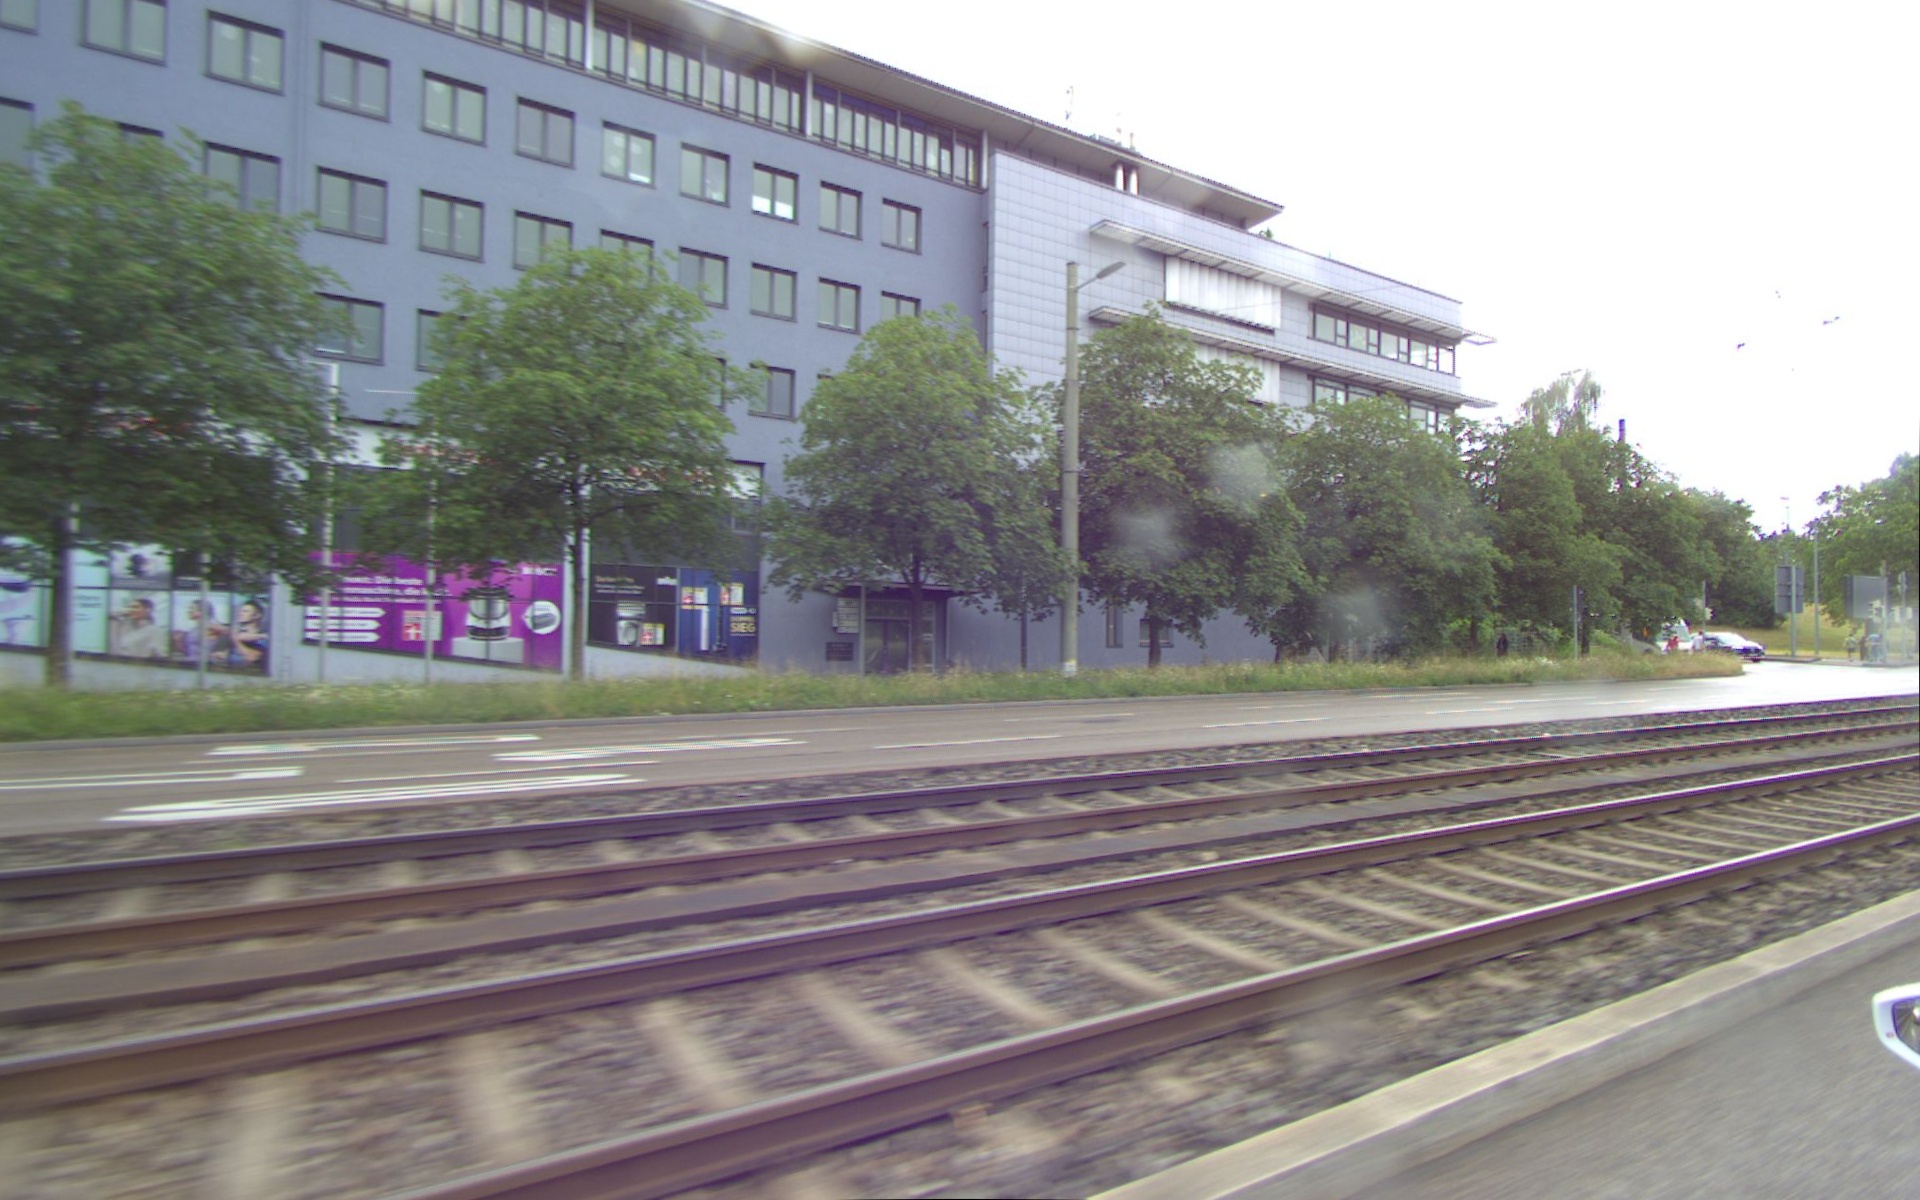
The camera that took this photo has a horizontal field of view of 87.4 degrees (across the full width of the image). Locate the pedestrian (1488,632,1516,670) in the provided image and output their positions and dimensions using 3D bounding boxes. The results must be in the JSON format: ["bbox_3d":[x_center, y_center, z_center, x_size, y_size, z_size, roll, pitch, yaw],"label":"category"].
[{"bbox_3d":[25.702,2.411,47.633,0.866,1.779,0.722,1,1,-28],"label":"pedestrian"}]

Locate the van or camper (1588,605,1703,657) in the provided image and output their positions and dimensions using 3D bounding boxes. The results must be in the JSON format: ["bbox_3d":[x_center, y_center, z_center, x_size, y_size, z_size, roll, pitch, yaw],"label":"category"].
[{"bbox_3d":[42.253,1.872,62.223,2.441,3.006,7.378,0,-1,4],"label":"van or camper"}]

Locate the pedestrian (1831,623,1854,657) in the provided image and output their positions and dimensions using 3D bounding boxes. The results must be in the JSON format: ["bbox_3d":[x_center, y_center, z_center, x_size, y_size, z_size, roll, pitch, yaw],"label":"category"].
[{"bbox_3d":[53.771,2.404,61.202,0.857,2.040,0.881,1,-1,-35],"label":"pedestrian"}]

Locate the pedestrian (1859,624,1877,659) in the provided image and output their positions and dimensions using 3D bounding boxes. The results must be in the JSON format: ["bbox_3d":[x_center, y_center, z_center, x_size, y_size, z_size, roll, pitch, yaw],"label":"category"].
[{"bbox_3d":[53.418,2.437,59.102,0.712,1.982,0.494,1,1,-27],"label":"pedestrian"}]

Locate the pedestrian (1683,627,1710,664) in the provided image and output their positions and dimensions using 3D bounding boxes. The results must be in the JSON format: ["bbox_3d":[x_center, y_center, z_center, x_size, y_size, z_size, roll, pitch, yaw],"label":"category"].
[{"bbox_3d":[38.020,2.320,51.839,0.935,1.892,0.636,0,-1,0],"label":"pedestrian"}]

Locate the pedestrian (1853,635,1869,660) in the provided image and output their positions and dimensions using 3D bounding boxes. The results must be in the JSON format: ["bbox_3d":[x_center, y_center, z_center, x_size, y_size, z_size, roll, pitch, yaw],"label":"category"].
[{"bbox_3d":[54.419,2.863,60.668,0.713,1.493,0.493,1,1,-29],"label":"pedestrian"}]

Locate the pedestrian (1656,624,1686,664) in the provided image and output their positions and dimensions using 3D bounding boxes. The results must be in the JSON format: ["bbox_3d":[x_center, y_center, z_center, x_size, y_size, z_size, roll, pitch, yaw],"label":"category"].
[{"bbox_3d":[37.162,2.278,52.507,0.927,2.040,0.890,1,-1,-2],"label":"pedestrian"}]

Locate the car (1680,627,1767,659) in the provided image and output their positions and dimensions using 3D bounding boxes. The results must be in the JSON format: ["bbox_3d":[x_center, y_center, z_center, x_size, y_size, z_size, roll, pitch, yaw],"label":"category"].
[{"bbox_3d":[46.387,2.572,61.152,1.960,1.755,4.633,0,0,3],"label":"car"}]

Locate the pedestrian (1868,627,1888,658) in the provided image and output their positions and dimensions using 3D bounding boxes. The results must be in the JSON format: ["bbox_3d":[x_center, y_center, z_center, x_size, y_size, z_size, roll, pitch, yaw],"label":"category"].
[{"bbox_3d":[53.512,2.478,58.555,0.821,1.811,0.504,1,1,-26],"label":"pedestrian"}]
